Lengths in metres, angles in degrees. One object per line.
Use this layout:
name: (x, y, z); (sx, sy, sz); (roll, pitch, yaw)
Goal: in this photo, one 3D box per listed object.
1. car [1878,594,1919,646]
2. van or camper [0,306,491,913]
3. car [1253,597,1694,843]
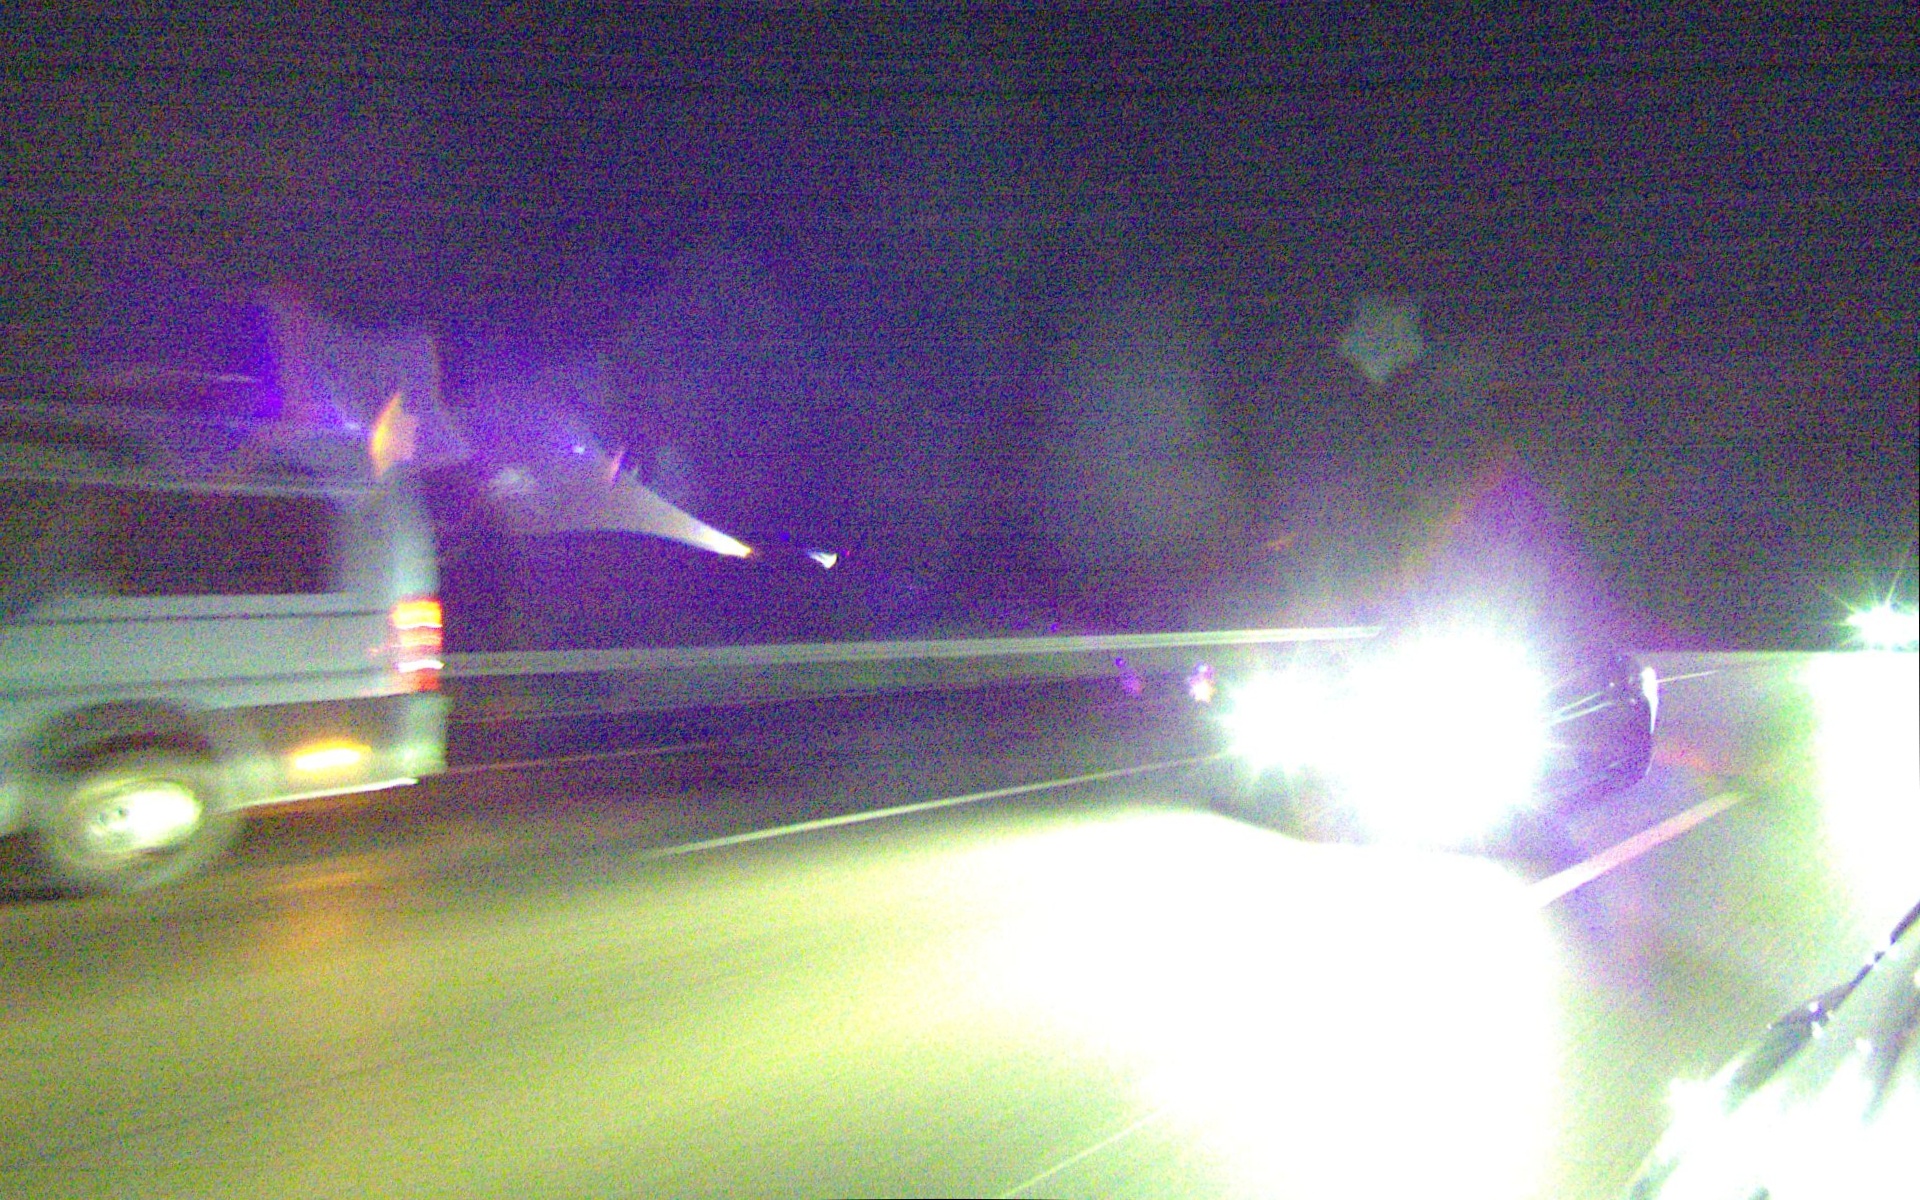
car: (31.025, 0.622, 32.492); (4.151, 1.560, 1.794); (0, 1, -41)
van or camper: (-6.062, 0.041, 4.740); (6.684, 2.807, 2.211); (0, -1, -41)
car: (4.266, 0.720, 8.099); (4.151, 1.431, 1.689); (0, 2, -41)
